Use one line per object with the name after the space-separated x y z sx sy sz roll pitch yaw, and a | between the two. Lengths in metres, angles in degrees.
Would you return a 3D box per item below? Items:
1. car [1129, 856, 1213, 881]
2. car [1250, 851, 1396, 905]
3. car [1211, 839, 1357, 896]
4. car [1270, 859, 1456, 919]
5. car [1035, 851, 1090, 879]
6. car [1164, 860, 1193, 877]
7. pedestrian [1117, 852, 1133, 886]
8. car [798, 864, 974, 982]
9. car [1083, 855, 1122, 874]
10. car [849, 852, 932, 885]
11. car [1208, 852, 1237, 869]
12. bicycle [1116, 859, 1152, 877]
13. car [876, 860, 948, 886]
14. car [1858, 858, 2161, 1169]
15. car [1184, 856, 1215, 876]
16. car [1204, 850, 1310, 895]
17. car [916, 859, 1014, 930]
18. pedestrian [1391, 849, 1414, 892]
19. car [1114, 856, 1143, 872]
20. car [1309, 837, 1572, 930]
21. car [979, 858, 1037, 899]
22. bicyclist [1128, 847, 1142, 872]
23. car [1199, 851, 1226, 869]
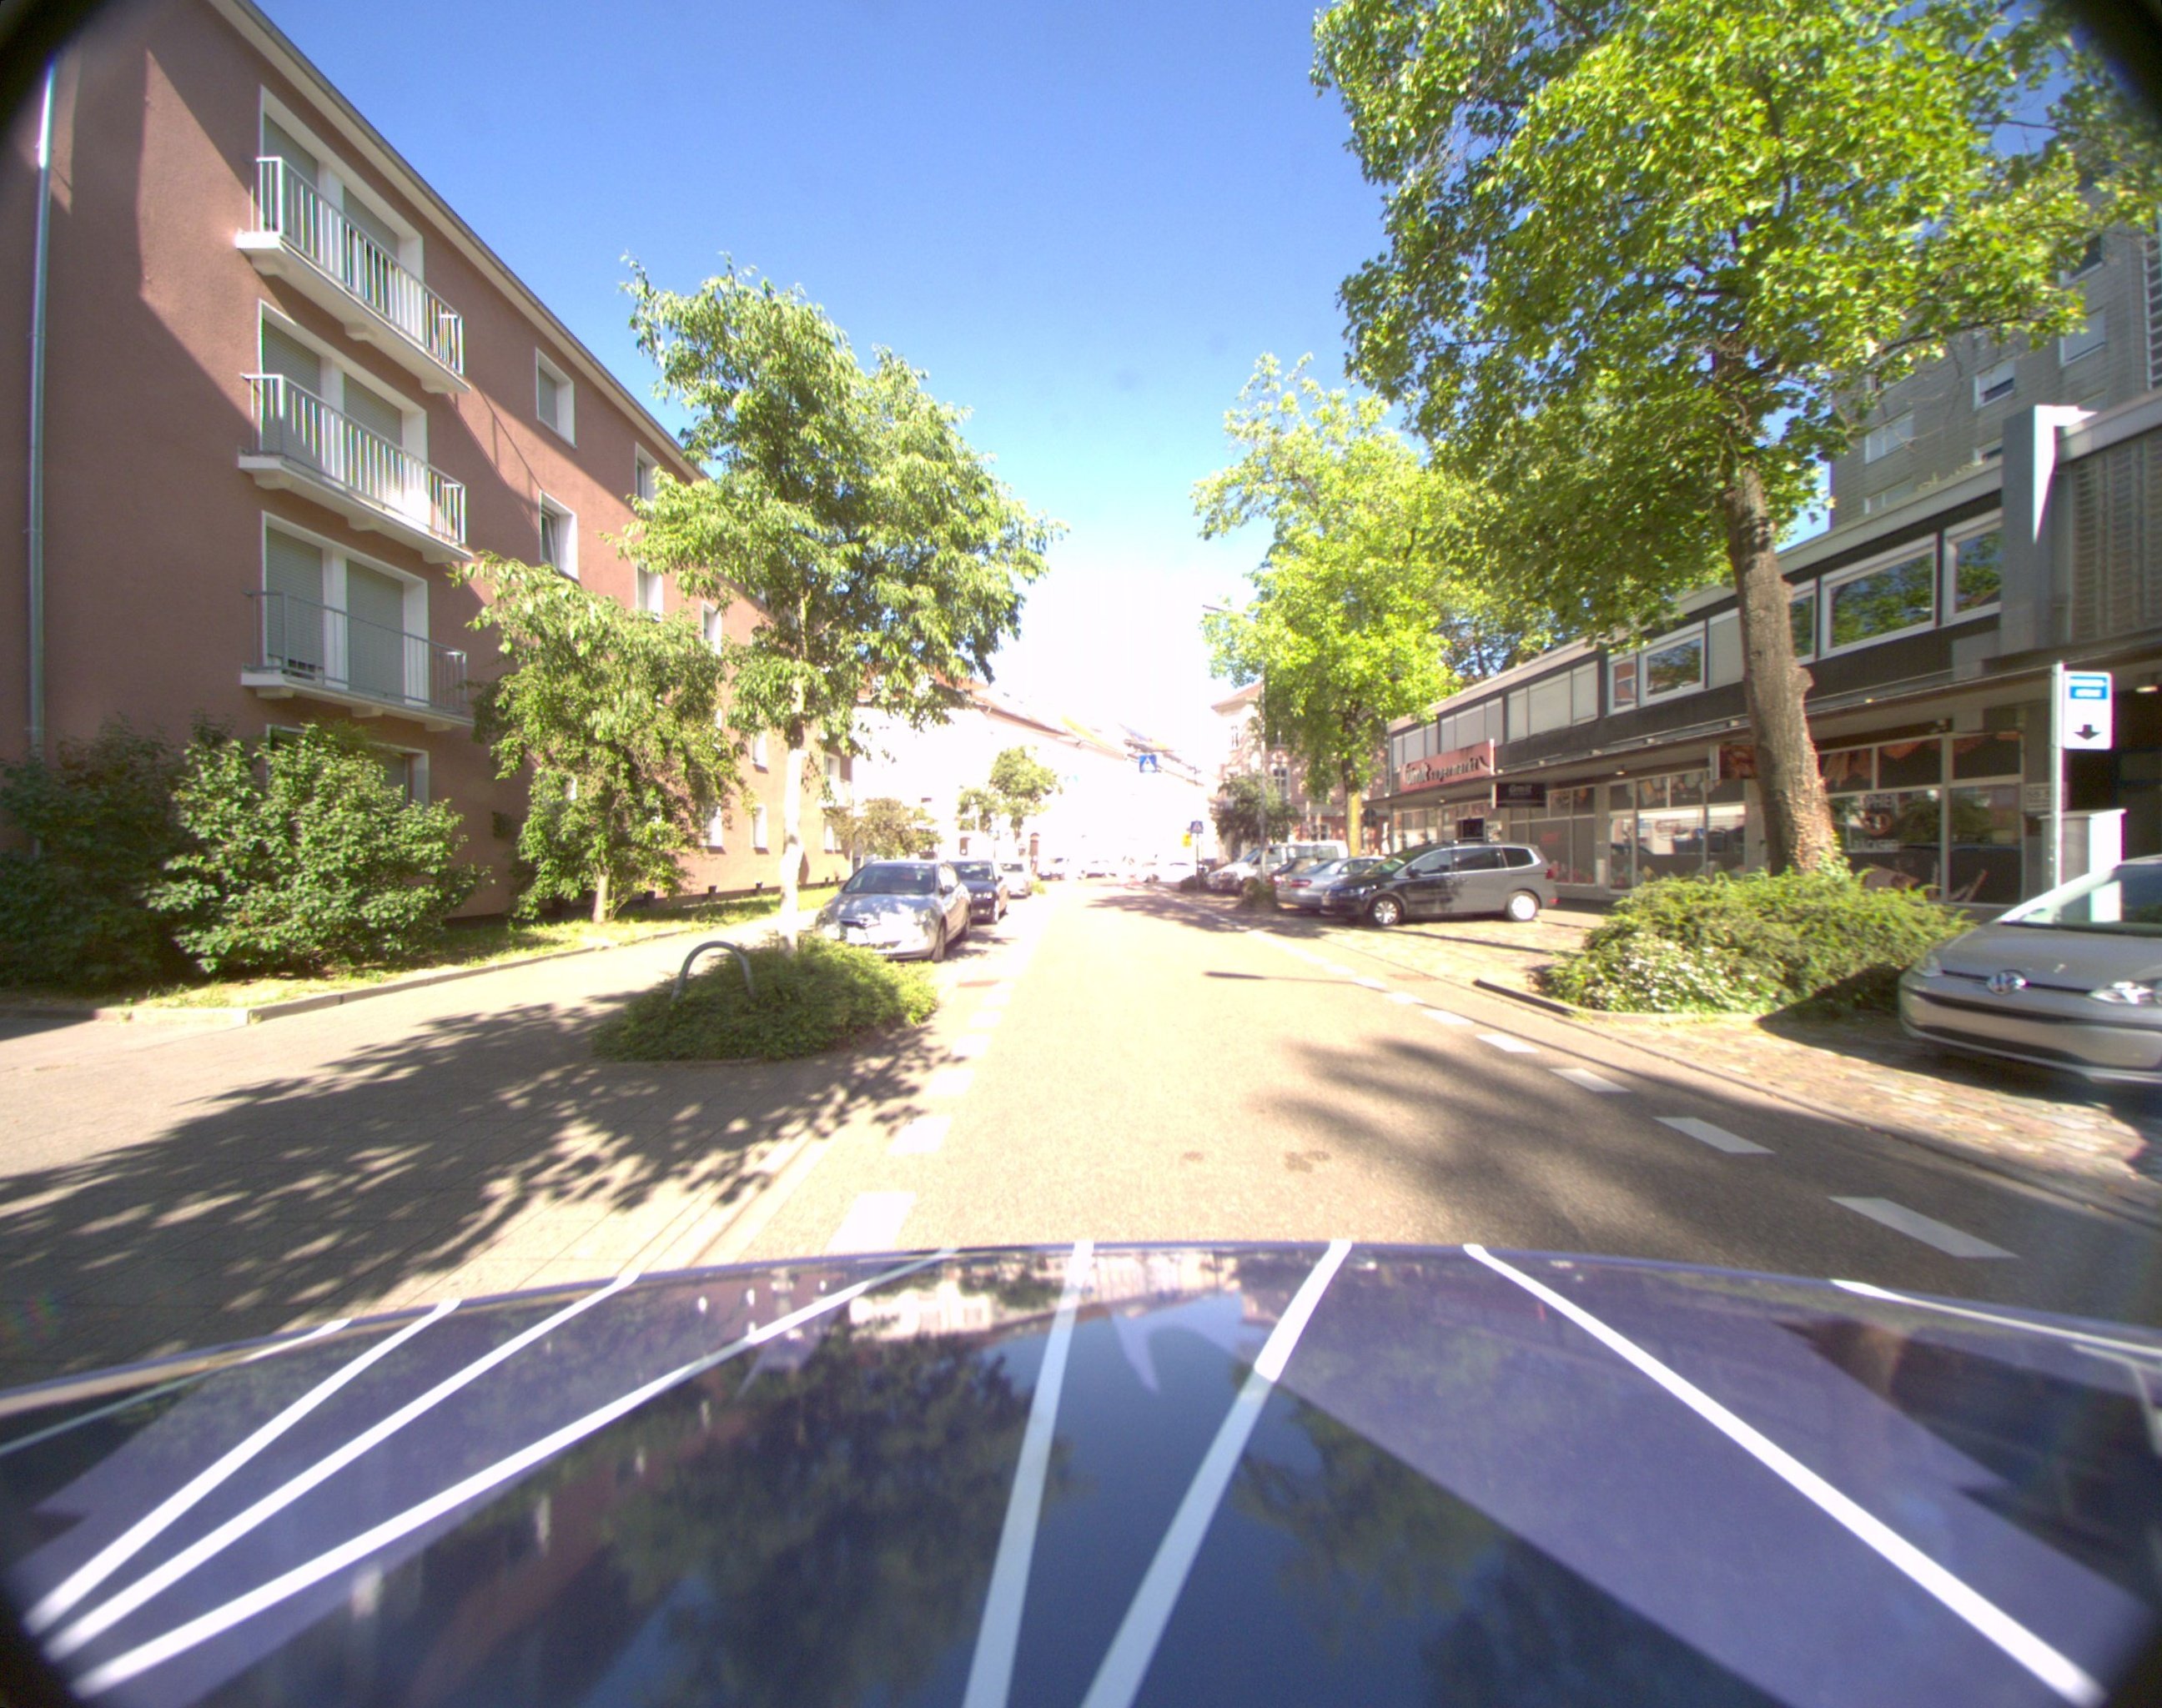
5.538 0.884 46.876 4.804 1.417 1.999 0 0 -7 | car
7.593 0.720 24.047 3.998 1.412 1.737 -3 0 -2 | car
7.648 0.498 28.878 4.996 1.958 1.909 -1 0 -2 | car
6.977 0.848 19.039 3.998 1.390 1.759 0 0 -2 | car
-1.255 0.724 54.192 1.908 1.924 4.817 0 0 26 | car
9.162 1.322 71.300 1.996 1.455 4.005 0 0 17 | car
2.153 0.727 37.440 0.727 1.630 0.808 0 1 -1 | pedestrian
-2.833 0.936 11.970 1.720 1.445 3.999 0 1 0 | car
1.837 0.871 63.342 2.130 1.487 3.951 0 0 19 | car
-11.972 0.924 48.047 4.757 2.002 1.999 0 0 -5 | car
13.811 0.606 73.946 1.854 1.652 4.007 0 0 24 | car
3.597 0.932 51.327 2.286 1.179 0.876 0 0 14 | bicycle
-9.488 1.032 42.789 3.648 1.394 1.568 0 0 0 | car
7.455 0.819 4.679 3.595 1.552 1.672 -2 0 0 | car
10.300 0.991 65.690 1.670 1.628 4.055 0 0 24 | car
7.231 0.745 31.453 3.997 1.781 1.757 0 0 -1 | car
-2.665 0.886 18.358 1.662 1.473 4.311 0 0 0 | car
11.814 0.592 27.944 0.529 1.547 0.663 -2 1 0 | pedestrian
4.384 0.872 69.223 1.632 1.412 3.299 0 0 23 | car
7.645 0.605 16.483 4.781 1.767 1.874 -2 0 -1 | car
-2.698 0.885 28.848 1.736 1.420 4.000 0 0 1 | car
3.661 0.378 51.294 0.817 1.663 0.848 0 1 13 | bicyclist
12.121 0.538 69.726 1.504 1.652 4.007 0 0 24 | car
